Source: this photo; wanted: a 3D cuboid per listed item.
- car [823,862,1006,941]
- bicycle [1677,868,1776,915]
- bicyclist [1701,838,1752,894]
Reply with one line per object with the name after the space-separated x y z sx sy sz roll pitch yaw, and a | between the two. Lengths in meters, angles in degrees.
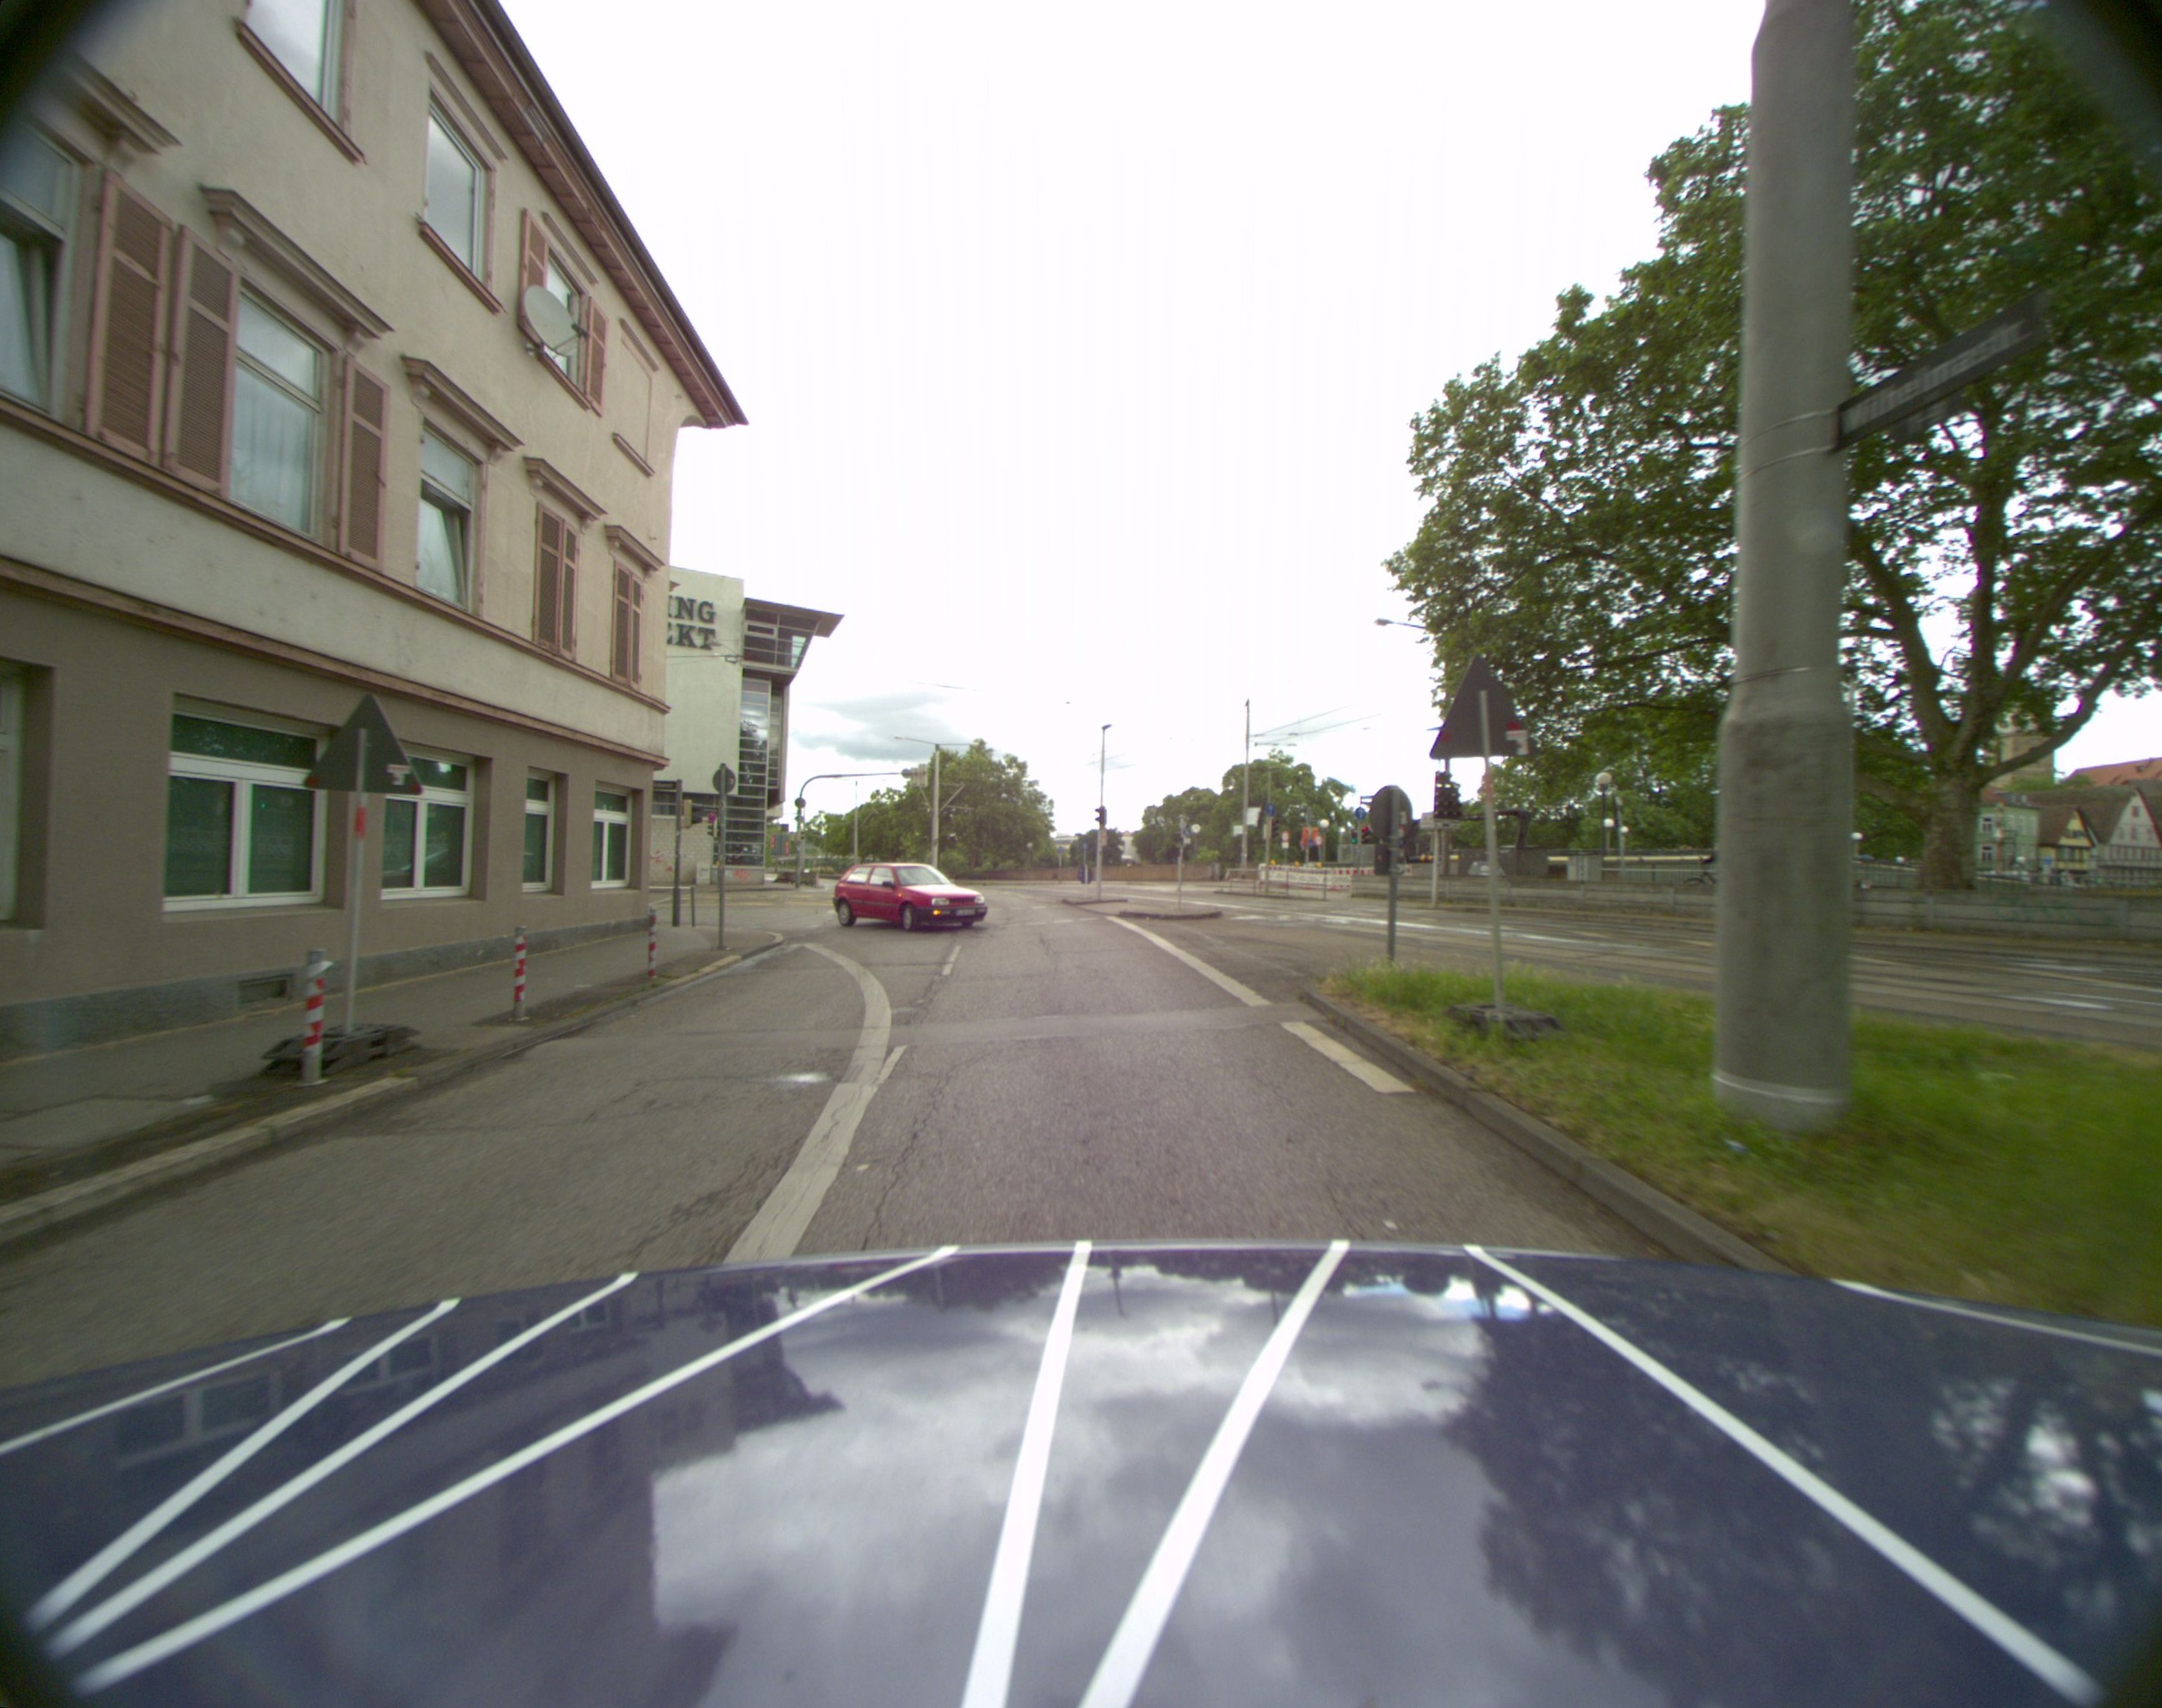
-3.790 0.941 16.915 4.161 1.415 1.855 0 3 43 | car
19.756 1.107 23.319 0.692 1.271 2.260 -3 2 -19 | bicycle
19.707 0.361 23.208 0.643 1.641 1.006 -3 2 -20 | bicyclist
